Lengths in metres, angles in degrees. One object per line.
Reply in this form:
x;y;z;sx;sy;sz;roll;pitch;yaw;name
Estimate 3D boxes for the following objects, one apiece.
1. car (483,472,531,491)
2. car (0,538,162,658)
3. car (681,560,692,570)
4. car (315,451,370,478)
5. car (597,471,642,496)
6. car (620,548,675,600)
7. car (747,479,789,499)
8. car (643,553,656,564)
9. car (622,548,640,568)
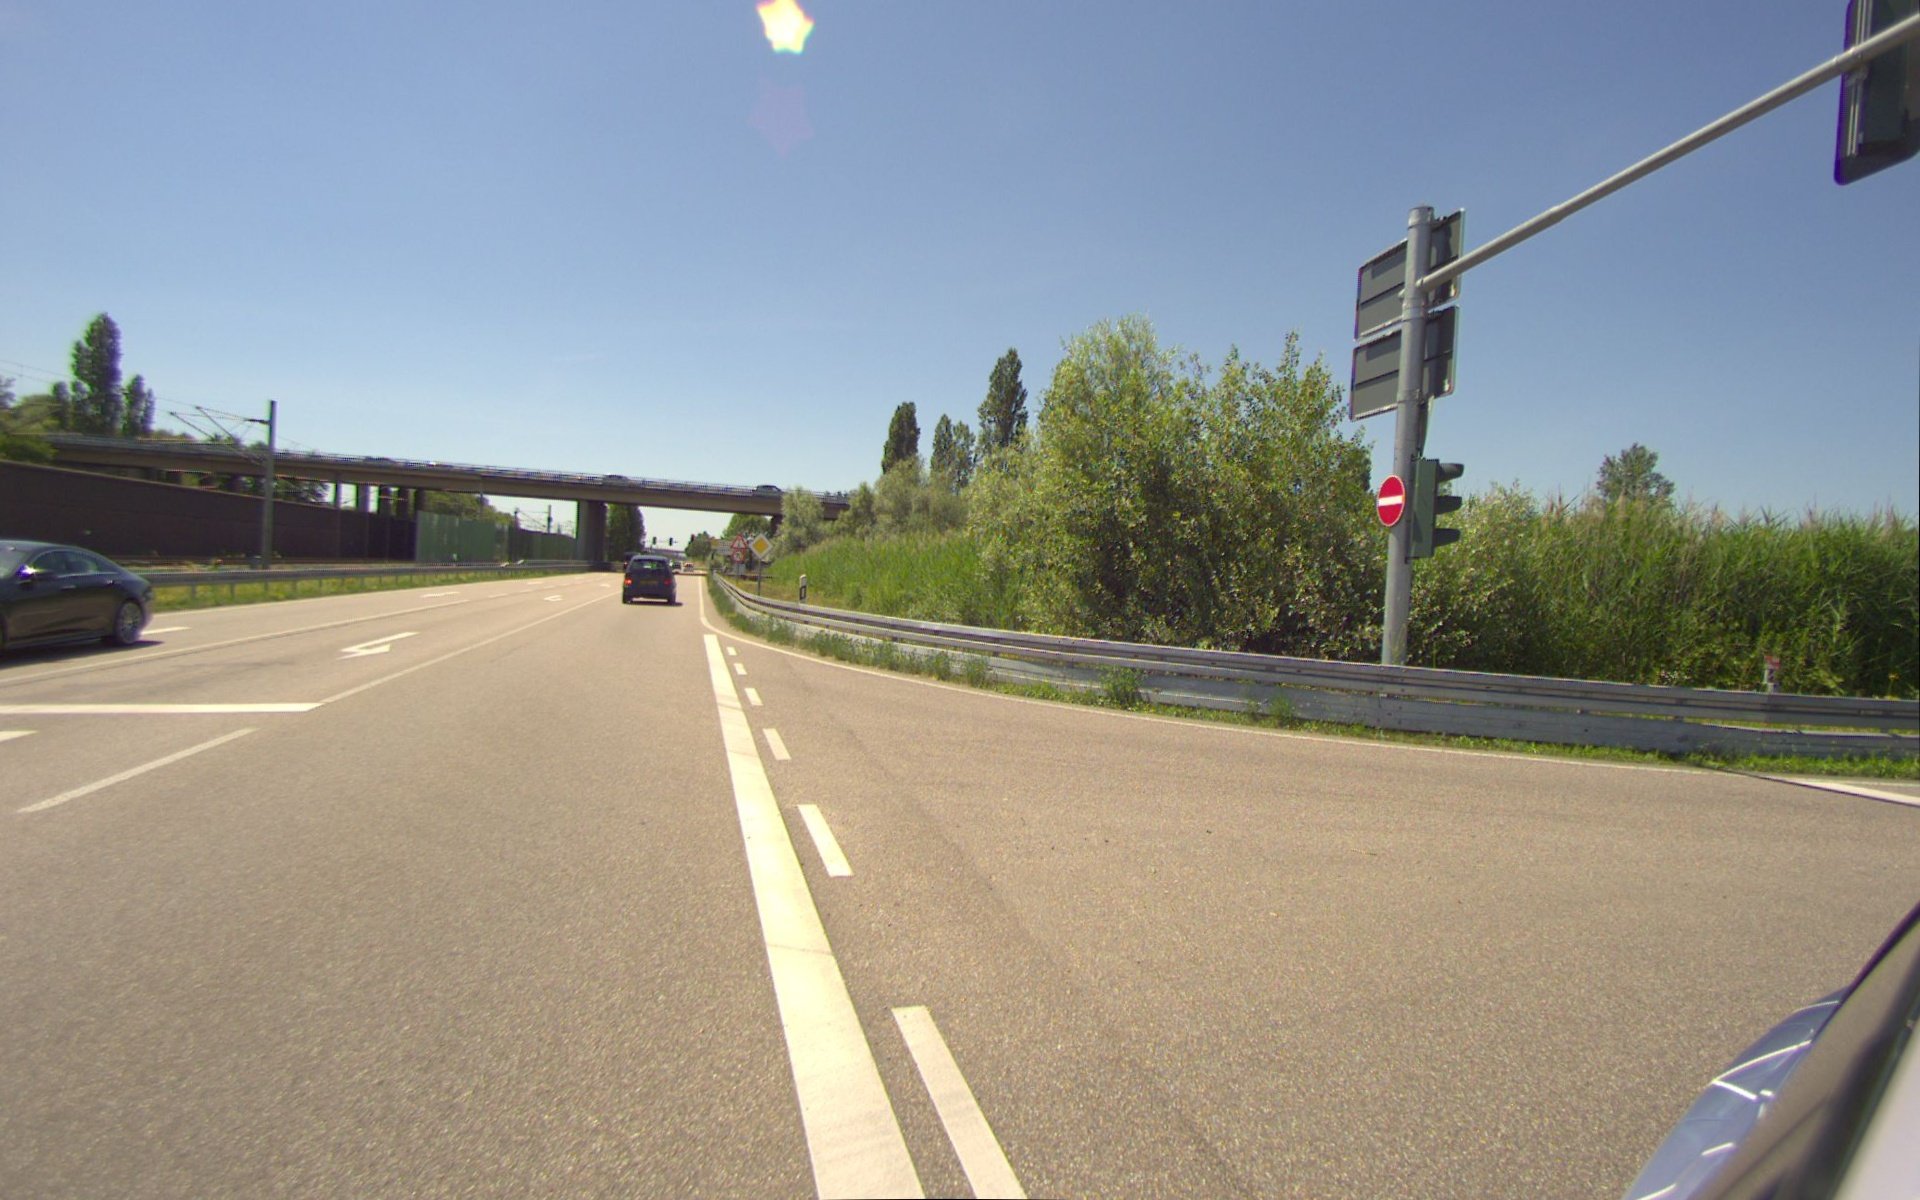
-51.413;-13.416;114.917;4.552;1.812;1.917;1;2;-9;car
-12.175;-0.078;12.494;1.873;1.381;4.659;1;2;-14;car
-45.121;-5.786;167.048;1.557;1.581;3.696;1;2;-13;car
-65.697;-14.393;107.737;4.552;2.472;1.917;1;1;-9;car
-38.193;-13.066;113.597;4.552;2.472;1.917;1;1;-9;car
-10.618;-0.897;34.538;1.608;1.616;3.569;2;1;-15;car
-21.601;-12.443;113.887;4.551;1.918;1.917;1;2;-11;car
-49.553;-6.672;161.557;1.805;1.711;4.009;2;2;-14;car
-42.068;-5.421;129.528;1.873;2.472;4.659;1;2;-14;car
